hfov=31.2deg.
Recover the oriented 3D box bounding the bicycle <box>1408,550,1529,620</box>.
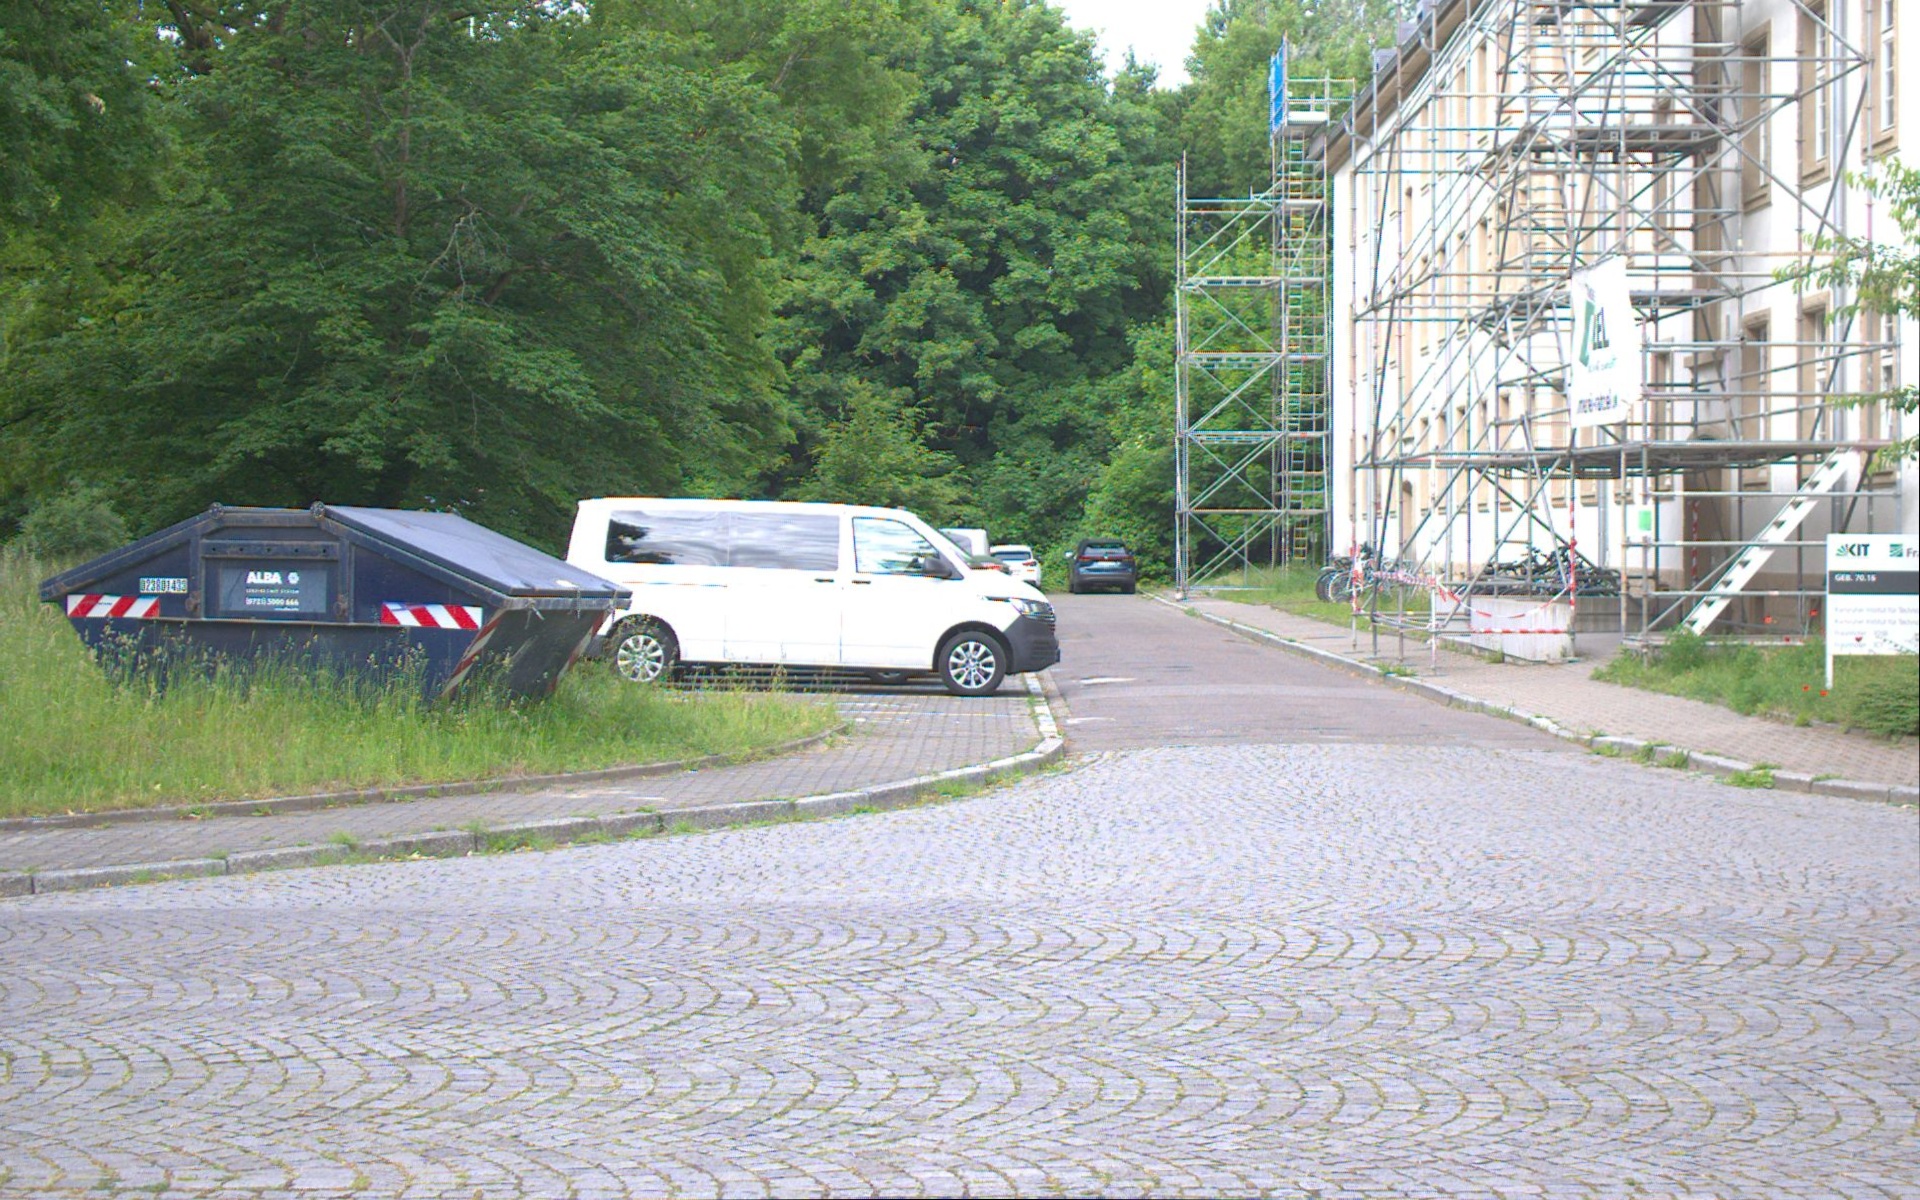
[{"bbox_3d":[7.979,-0.241,53.992,1.856,1.091,0.511,0,1,8],"label":"bicycle"}]

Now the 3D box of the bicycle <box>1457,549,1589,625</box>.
[{"bbox_3d":[8.148,-0.193,49.800,1.856,1.091,0.511,0,1,8],"label":"bicycle"}]

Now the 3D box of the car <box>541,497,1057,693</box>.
[{"bbox_3d":[-1.636,-0.067,36.024,5.259,1.990,1.969,0,1,0],"label":"car"}]

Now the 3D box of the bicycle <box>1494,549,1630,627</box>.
[{"bbox_3d":[8.477,-0.178,48.456,1.856,1.091,0.511,0,1,8],"label":"bicycle"}]

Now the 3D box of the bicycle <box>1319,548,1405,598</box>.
[{"bbox_3d":[8.729,-0.588,74.630,1.856,1.091,0.511,0,1,8],"label":"bicycle"}]

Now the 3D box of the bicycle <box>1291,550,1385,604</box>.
[{"bbox_3d":[7.757,-0.483,70.609,1.858,1.091,0.510,0,1,23],"label":"bicycle"}]

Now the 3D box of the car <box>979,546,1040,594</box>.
[{"bbox_3d":[1.410,-0.885,98.918,1.578,1.334,3.954,0,1,-2],"label":"car"}]

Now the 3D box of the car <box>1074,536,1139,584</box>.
[{"bbox_3d":[4.191,-1.168,98.839,1.578,1.366,3.954,0,1,-2],"label":"car"}]

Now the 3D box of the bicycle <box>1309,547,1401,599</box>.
[{"bbox_3d":[8.315,-0.572,72.468,1.858,1.091,0.510,0,1,23],"label":"bicycle"}]

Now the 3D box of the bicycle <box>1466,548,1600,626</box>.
[{"bbox_3d":[8.161,-0.188,49.007,1.856,1.091,0.511,0,1,8],"label":"bicycle"}]

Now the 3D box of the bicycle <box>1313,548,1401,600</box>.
[{"bbox_3d":[8.526,-0.562,73.841,1.856,1.091,0.511,0,1,8],"label":"bicycle"}]

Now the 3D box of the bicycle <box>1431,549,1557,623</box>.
[{"bbox_3d":[8.005,-0.216,51.597,1.856,1.091,0.511,0,1,8],"label":"bicycle"}]

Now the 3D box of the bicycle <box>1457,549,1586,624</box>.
[{"bbox_3d":[8.260,-0.203,50.600,1.856,1.091,0.511,0,1,8],"label":"bicycle"}]
